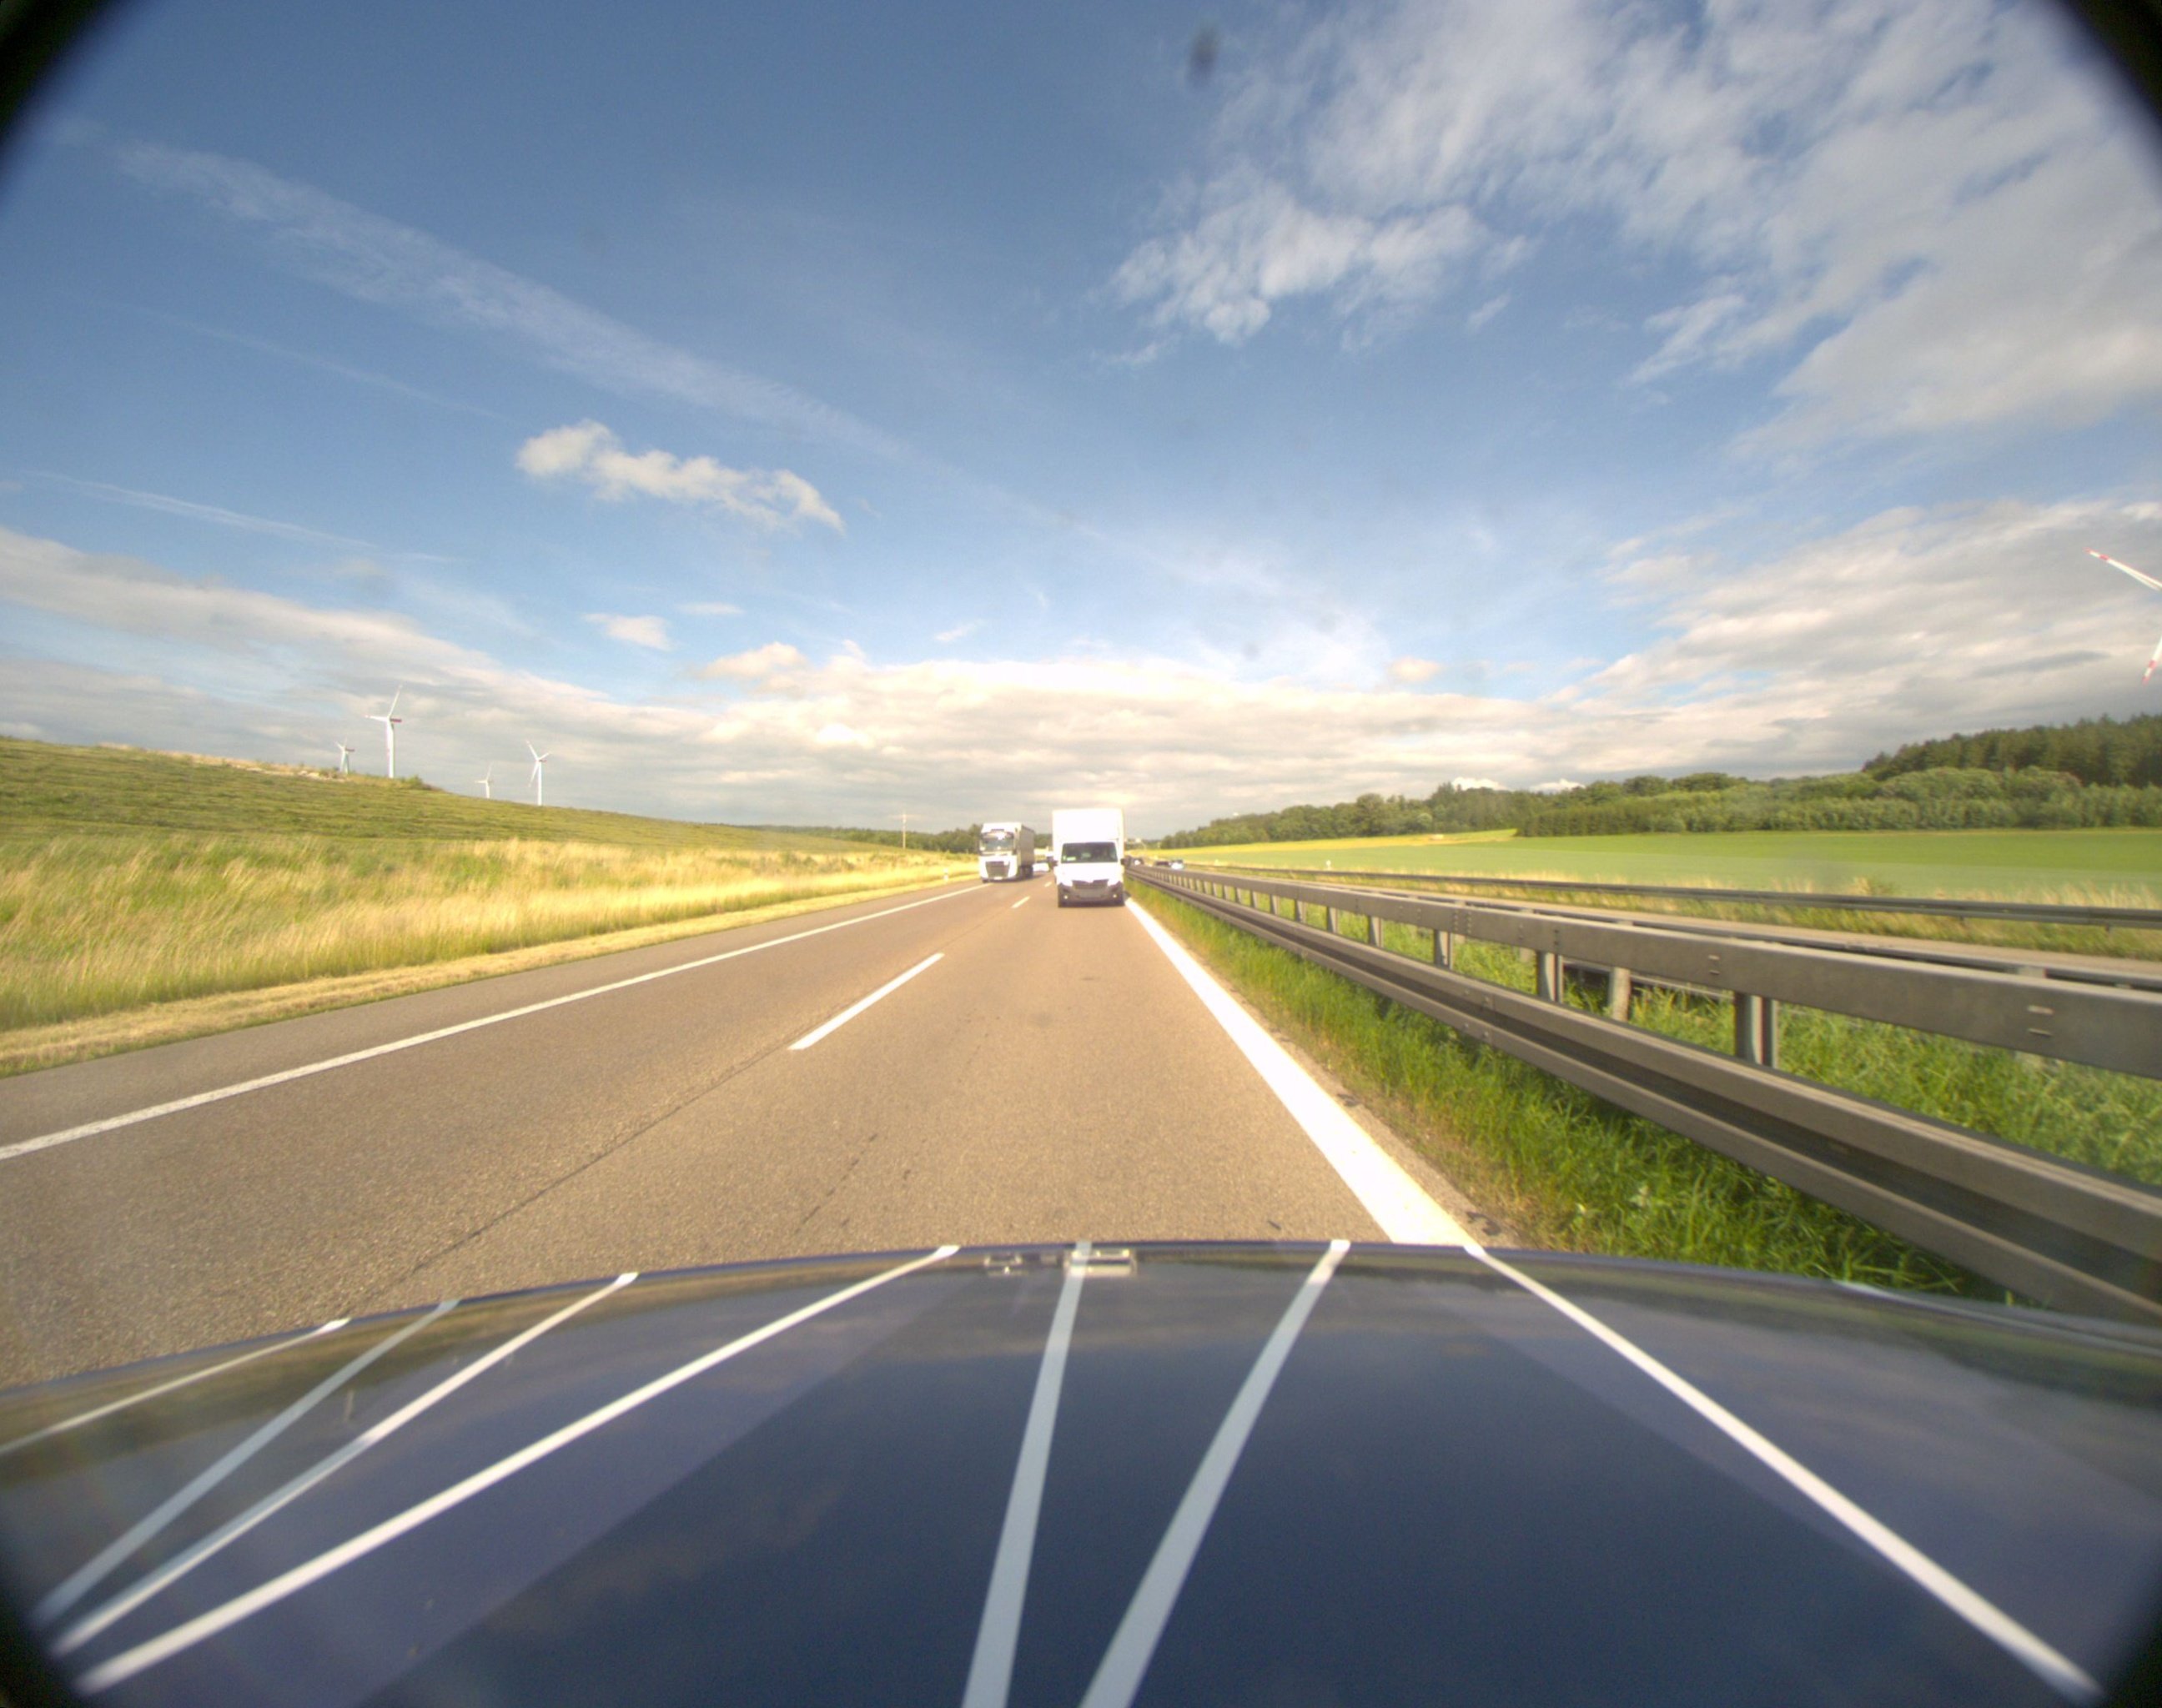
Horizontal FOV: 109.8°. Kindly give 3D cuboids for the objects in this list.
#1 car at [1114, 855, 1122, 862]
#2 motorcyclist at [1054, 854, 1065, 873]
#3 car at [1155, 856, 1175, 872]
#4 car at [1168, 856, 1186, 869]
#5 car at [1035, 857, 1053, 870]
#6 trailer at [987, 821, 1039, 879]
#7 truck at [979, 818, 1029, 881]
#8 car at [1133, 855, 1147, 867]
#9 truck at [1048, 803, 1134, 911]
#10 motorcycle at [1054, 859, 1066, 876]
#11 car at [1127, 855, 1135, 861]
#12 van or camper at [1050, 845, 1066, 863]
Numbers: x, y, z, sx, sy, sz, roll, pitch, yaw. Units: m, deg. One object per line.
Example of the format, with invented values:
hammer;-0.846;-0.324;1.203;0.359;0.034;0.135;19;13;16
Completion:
car;9.405;1.097;194.972;1.754;1.594;4.265;-1;1;0
motorcyclist;-1.821;0.815;65.141;0.898;1.608;1.022;-1;1;0
car;8.527;0.969;77.220;1.601;1.506;4.159;-1;1;1
car;12.009;1.049;95.444;1.739;1.579;4.116;-1;1;1
car;-4.311;1.130;89.343;1.871;1.409;4.461;-1;1;1
trailer;-5.156;-0.249;60.026;2.623;4.016;13.699;-2;0;1
truck;-5.222;-0.290;52.501;2.607;4.017;6.120;-2;0;1
car;8.968;1.045;115.199;1.827;1.759;4.363;-1;1;1
truck;0.293;0.116;28.142;2.502;3.141;11.163;-1;0;0
motorcycle;-1.818;1.146;65.129;0.898;1.447;2.269;-1;1;0
car;13.190;1.083;199.221;1.754;1.470;4.479;-1;1;0
van or camper;-3.363;-0.019;112.825;2.102;2.530;6.412;-1;1;1
